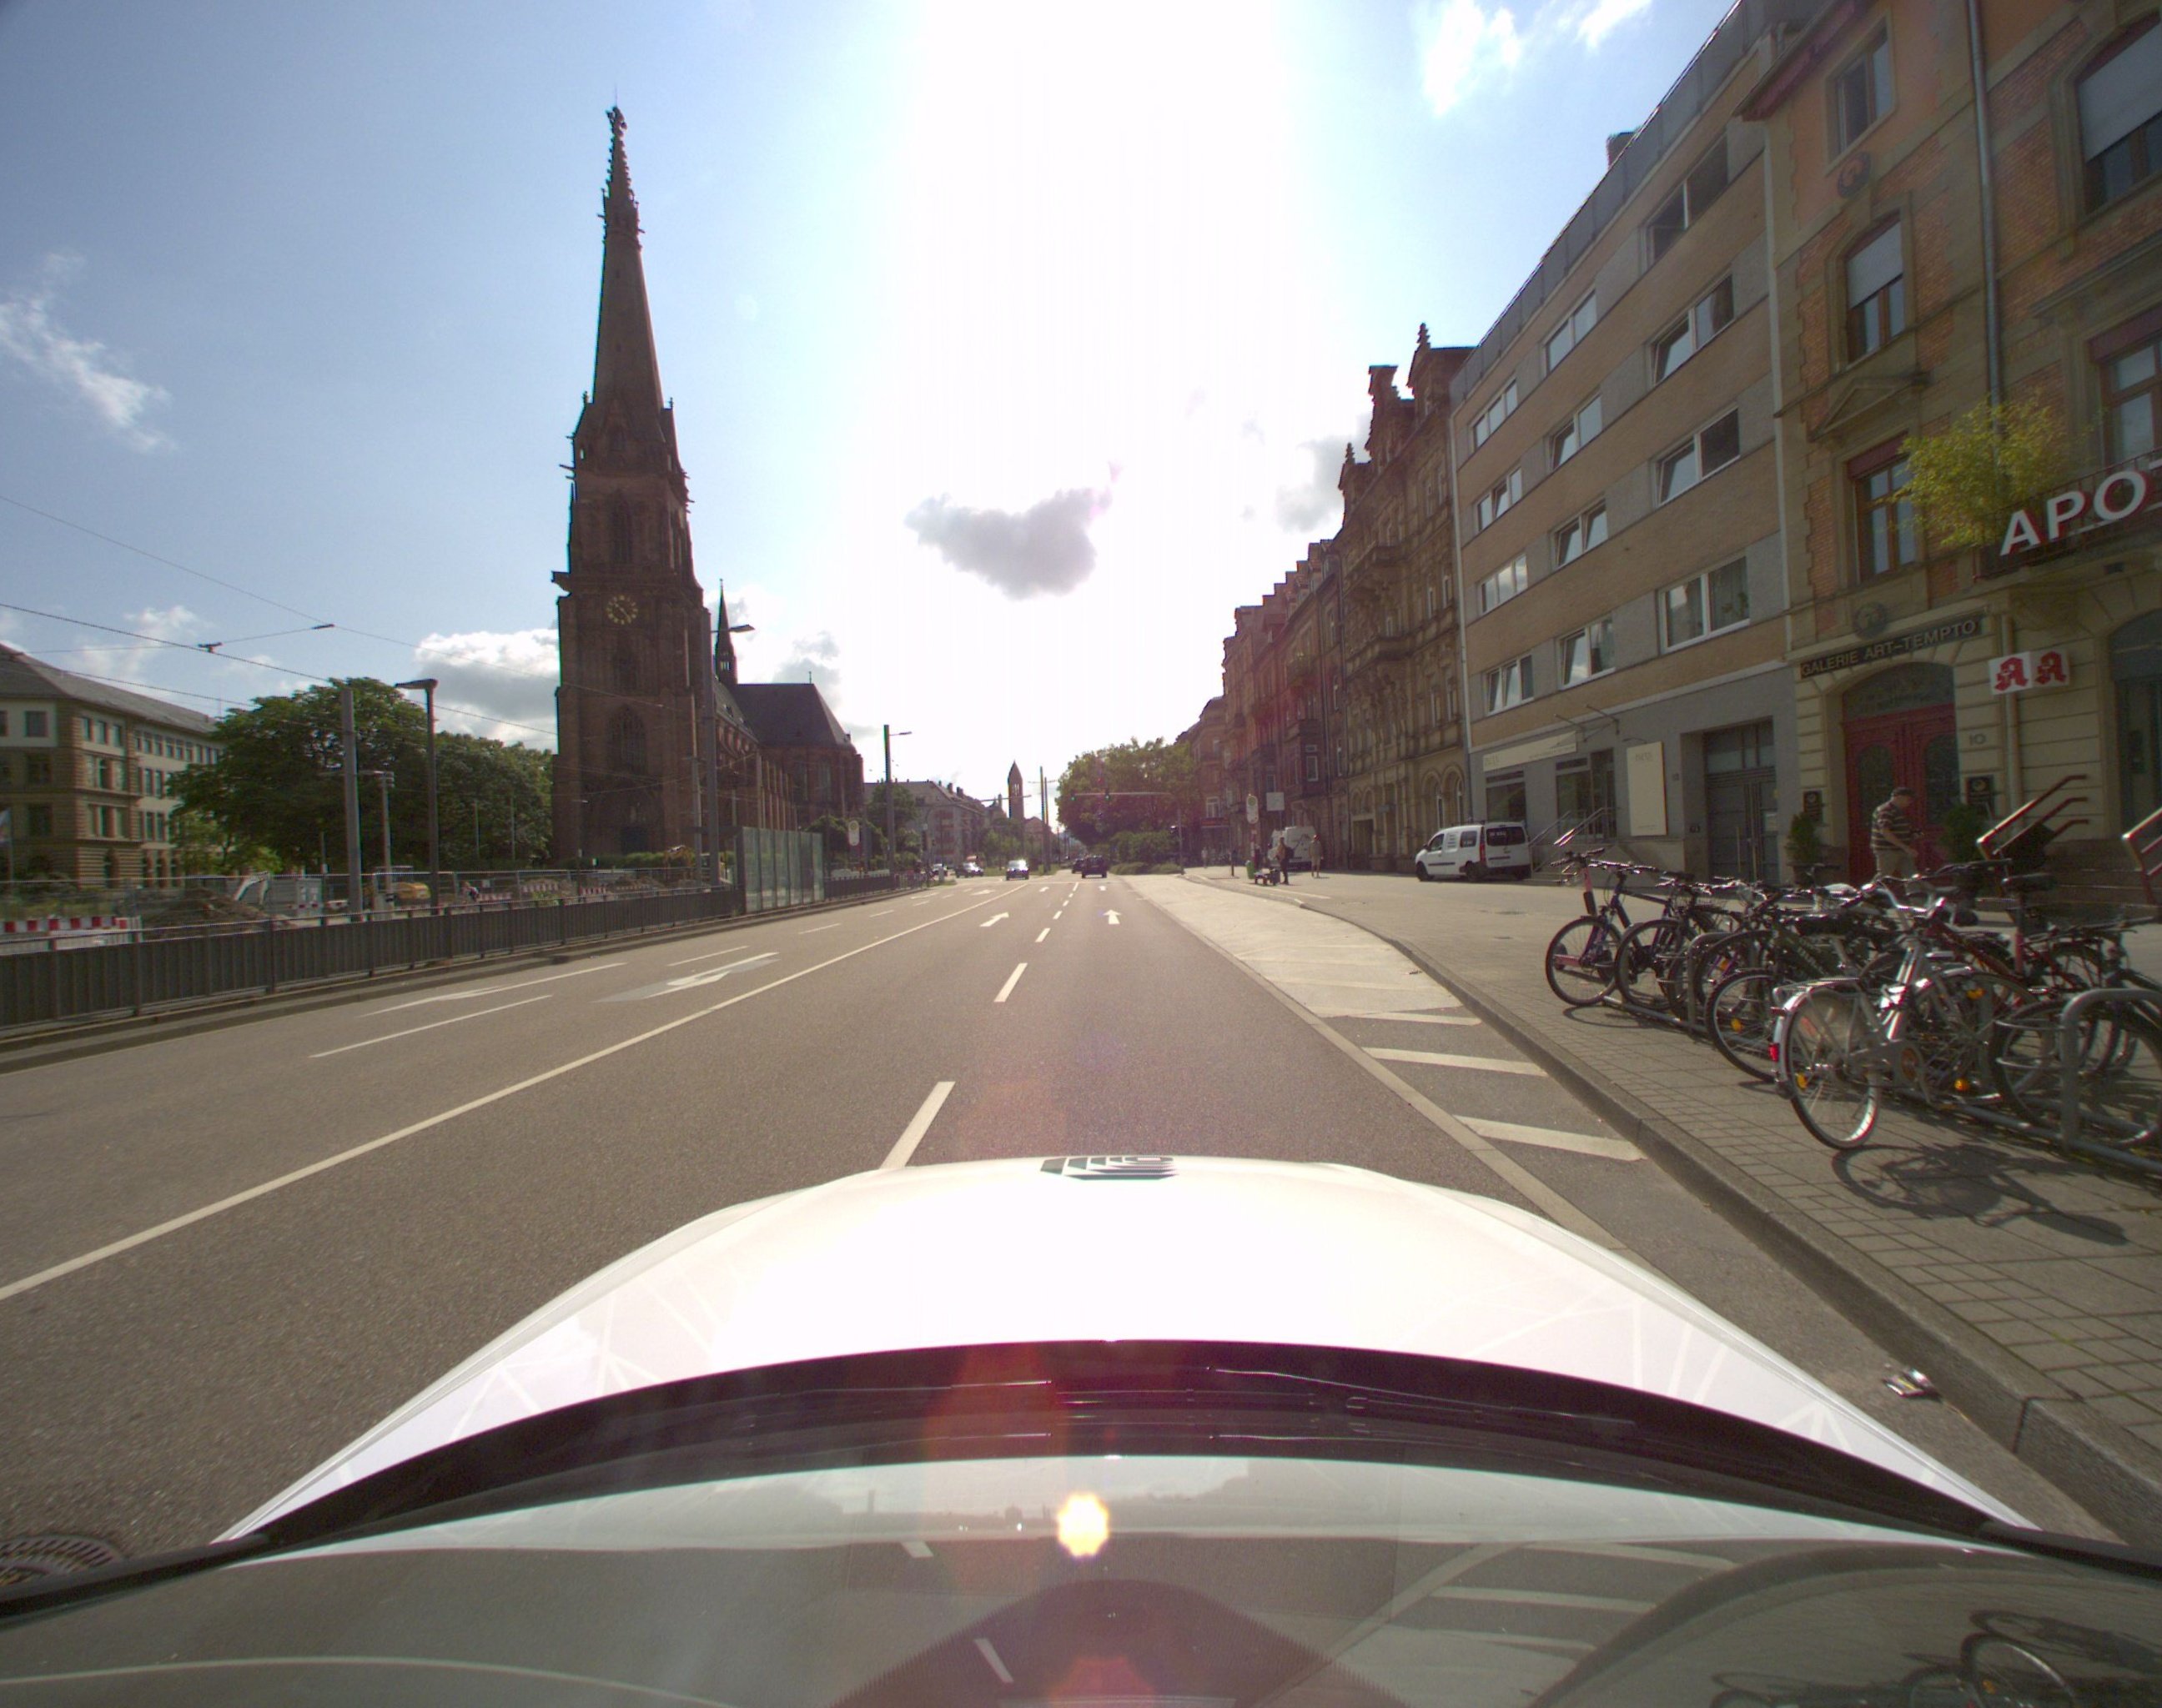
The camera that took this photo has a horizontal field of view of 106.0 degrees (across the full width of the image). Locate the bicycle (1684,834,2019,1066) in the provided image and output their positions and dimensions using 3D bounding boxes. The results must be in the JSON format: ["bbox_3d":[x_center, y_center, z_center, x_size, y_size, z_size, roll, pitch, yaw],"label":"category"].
[{"bbox_3d":[4.737,0.538,5.010,1.924,1.237,0.440,-3,2,-10],"label":"bicycle"}]

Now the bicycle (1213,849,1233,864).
[{"bbox_3d":[13.062,0.201,75.126,1.761,1.267,0.467,-2,2,4],"label":"bicycle"}]

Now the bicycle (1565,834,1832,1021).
[{"bbox_3d":[4.675,0.509,6.165,1.925,1.237,0.439,-3,2,-12],"label":"bicycle"}]

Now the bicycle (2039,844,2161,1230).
[{"bbox_3d":[4.473,0.566,2.741,1.916,1.237,0.441,-2,2,2],"label":"bicycle"}]

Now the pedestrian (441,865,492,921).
[{"bbox_3d":[-23.370,1.473,30.991,1.061,2.013,1.052,-3,0,4],"label":"pedestrian"}]

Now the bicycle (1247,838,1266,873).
[{"bbox_3d":[9.978,0.108,46.226,0.681,1.925,1.590,-3,0,2],"label":"bicycle"}]

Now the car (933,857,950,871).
[{"bbox_3d":[-16.942,1.230,98.789,1.800,1.552,4.279,-2,0,-11],"label":"car"}]

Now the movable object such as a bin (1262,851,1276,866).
[{"bbox_3d":[13.770,0.334,59.763,0.783,1.107,0.776,-3,0,-1],"label":"movable object such as a bin"}]

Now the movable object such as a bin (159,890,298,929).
[{"bbox_3d":[-40.675,2.603,39.080,1.995,1.502,5.133,-3,0,-12],"label":"movable object such as a bin"}]

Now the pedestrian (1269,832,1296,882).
[{"bbox_3d":[7.828,0.112,31.693,0.664,1.903,0.690,-3,0,-18],"label":"pedestrian"}]

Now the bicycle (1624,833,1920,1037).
[{"bbox_3d":[4.798,0.517,5.657,1.924,1.237,0.440,-3,2,-10],"label":"bicycle"}]

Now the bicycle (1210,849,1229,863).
[{"bbox_3d":[13.046,0.168,76.769,1.761,1.267,0.467,-2,2,4],"label":"bicycle"}]

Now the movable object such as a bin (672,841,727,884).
[{"bbox_3d":[-29.826,0.621,63.886,1.984,3.105,4.007,-2,2,5],"label":"movable object such as a bin"}]

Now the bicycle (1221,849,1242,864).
[{"bbox_3d":[13.319,0.243,72.290,1.761,1.267,0.467,-2,2,4],"label":"bicycle"}]

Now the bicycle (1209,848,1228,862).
[{"bbox_3d":[13.068,0.117,77.488,1.761,1.267,0.467,-2,2,4],"label":"bicycle"}]

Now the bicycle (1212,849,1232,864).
[{"bbox_3d":[13.071,0.213,75.751,1.761,1.267,0.467,-2,2,4],"label":"bicycle"}]

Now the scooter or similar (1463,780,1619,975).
[{"bbox_3d":[4.614,0.218,8.287,0.397,1.786,1.531,-3,0,-12],"label":"scooter or similar"}]

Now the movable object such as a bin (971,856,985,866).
[{"bbox_3d":[-20.443,1.400,161.567,2.199,1.693,3.717,-2,2,0],"label":"movable object such as a bin"}]

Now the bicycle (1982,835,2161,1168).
[{"bbox_3d":[4.930,0.545,3.563,1.926,1.237,0.439,-3,2,-13],"label":"bicycle"}]

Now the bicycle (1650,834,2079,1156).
[{"bbox_3d":[3.621,0.571,3.760,1.926,1.237,0.439,-3,2,-13],"label":"bicycle"}]

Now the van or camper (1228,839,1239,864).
[{"bbox_3d":[12.641,-0.182,67.612,0.664,2.013,0.638,-3,0,1],"label":"van or camper"}]

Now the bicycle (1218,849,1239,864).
[{"bbox_3d":[13.217,0.247,72.873,1.738,1.267,0.467,-2,2,4],"label":"bicycle"}]

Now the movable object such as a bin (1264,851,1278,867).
[{"bbox_3d":[13.774,0.335,59.007,0.783,1.107,0.776,-3,0,-1],"label":"movable object such as a bin"}]

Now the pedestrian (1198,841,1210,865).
[{"bbox_3d":[10.547,-0.073,69.822,0.765,2.013,0.715,-3,0,1],"label":"pedestrian"}]

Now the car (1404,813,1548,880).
[{"bbox_3d":[12.554,-0.189,26.306,1.990,1.862,4.744,-3,-1,-5],"label":"car"}]

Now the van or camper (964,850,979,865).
[{"bbox_3d":[-20.895,0.736,155.448,2.250,2.737,6.196,-3,0,-3],"label":"van or camper"}]

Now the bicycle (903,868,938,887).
[{"bbox_3d":[-10.509,1.521,53.282,2.005,1.126,0.934,-3,0,11],"label":"bicycle"}]

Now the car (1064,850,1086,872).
[{"bbox_3d":[-0.603,0.658,79.445,1.988,2.013,3.997,-3,0,-2],"label":"car"}]

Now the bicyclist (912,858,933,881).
[{"bbox_3d":[-10.378,1.019,53.304,1.082,1.436,0.827,-3,0,11],"label":"bicyclist"}]

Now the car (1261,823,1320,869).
[{"bbox_3d":[12.402,-0.458,48.676,1.986,2.525,5.889,-2,0,1],"label":"car"}]

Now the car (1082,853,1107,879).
[{"bbox_3d":[0.949,0.862,60.488,1.684,1.711,3.608,-3,2,-1],"label":"car"}]

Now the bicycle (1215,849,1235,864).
[{"bbox_3d":[13.126,0.223,74.324,1.761,1.267,0.467,-2,2,4],"label":"bicycle"}]

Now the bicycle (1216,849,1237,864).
[{"bbox_3d":[13.161,0.213,73.551,1.761,1.267,0.467,-2,2,4],"label":"bicycle"}]

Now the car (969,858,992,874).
[{"bbox_3d":[-10.518,1.245,85.522,1.813,1.552,4.557,-3,0,-2],"label":"car"}]

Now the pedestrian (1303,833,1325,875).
[{"bbox_3d":[10.604,0.005,37.063,0.662,1.836,0.693,-3,0,-6],"label":"pedestrian"}]

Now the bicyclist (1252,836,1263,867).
[{"bbox_3d":[10.023,-0.152,46.217,0.426,1.718,0.828,-2,-1,2],"label":"bicyclist"}]

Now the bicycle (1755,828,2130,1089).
[{"bbox_3d":[4.752,0.518,4.497,1.924,1.237,0.440,-3,2,-10],"label":"bicycle"}]

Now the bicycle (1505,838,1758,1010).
[{"bbox_3d":[4.523,0.536,6.687,1.979,1.237,0.439,-3,2,-11],"label":"bicycle"}]

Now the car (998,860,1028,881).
[{"bbox_3d":[-5.158,1.254,62.189,1.910,1.417,3.739,-3,0,-1],"label":"car"}]

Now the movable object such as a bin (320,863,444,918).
[{"bbox_3d":[-40.722,2.090,47.525,5.132,2.911,1.995,-3,0,-7],"label":"movable object such as a bin"}]

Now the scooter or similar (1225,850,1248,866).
[{"bbox_3d":[13.266,0.364,69.616,1.763,1.185,0.466,-4,-1,0],"label":"scooter or similar"}]

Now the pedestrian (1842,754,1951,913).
[{"bbox_3d":[11.285,-0.285,11.291,0.718,2.099,0.786,-2,2,1],"label":"pedestrian"}]
